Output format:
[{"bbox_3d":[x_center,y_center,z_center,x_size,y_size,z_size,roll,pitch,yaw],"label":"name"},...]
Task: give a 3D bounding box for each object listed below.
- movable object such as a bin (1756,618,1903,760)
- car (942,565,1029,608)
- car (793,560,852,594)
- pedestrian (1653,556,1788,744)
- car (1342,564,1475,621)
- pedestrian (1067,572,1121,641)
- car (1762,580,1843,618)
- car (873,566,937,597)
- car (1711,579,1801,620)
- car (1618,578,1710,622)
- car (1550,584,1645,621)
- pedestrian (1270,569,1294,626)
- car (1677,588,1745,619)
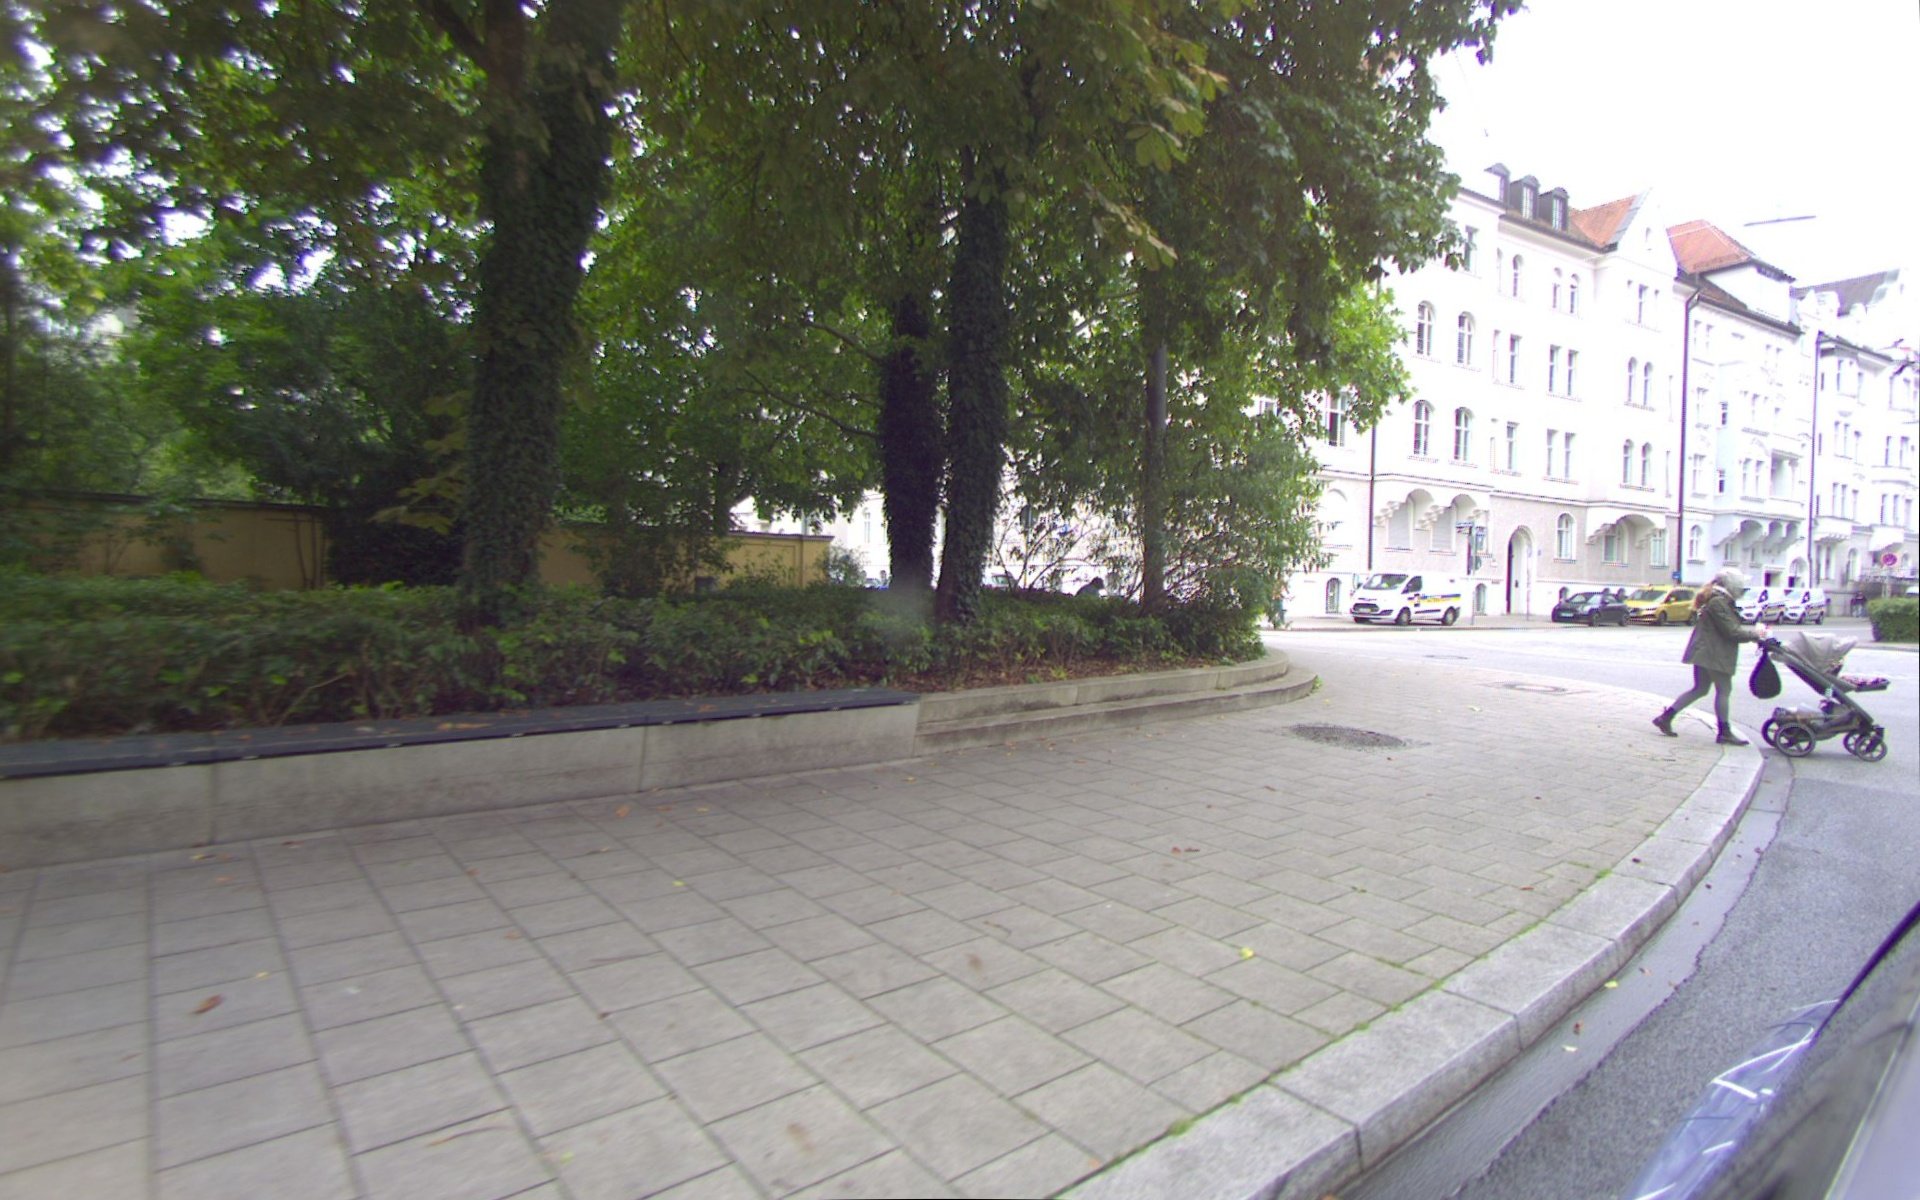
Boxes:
[{"bbox_3d":[7.785,0.757,9.073,0.898,1.097,0.765,6,4,43],"label":"movable object such as a bin"},{"bbox_3d":[0.998,-0.582,41.142,1.703,1.602,4.005,-1,3,-30],"label":"car"},{"bbox_3d":[-7.757,-1.313,56.640,1.788,1.779,4.114,-1,3,-31],"label":"car"},{"bbox_3d":[7.159,0.436,9.537,0.861,1.638,0.585,6,4,43],"label":"pedestrian"},{"bbox_3d":[16.550,-0.286,37.327,4.874,1.958,1.954,0,2,-30],"label":"car"},{"bbox_3d":[2.376,0.112,17.960,0.730,1.192,0.579,1,1,-30],"label":"pedestrian"},{"bbox_3d":[46.335,-0.098,55.642,4.486,1.962,2.057,-1,3,-32],"label":"car"},{"bbox_3d":[-2.641,-0.881,47.733,1.667,1.348,3.302,-1,3,-31],"label":"car"},{"bbox_3d":[41.147,-0.088,52.285,4.679,1.936,2.161,-1,3,-32],"label":"car"},{"bbox_3d":[32.121,-0.048,46.174,4.218,1.841,1.798,-1,3,-30],"label":"car"},{"bbox_3d":[27.481,0.091,43.613,3.743,1.437,1.954,-1,3,-30],"label":"car"},{"bbox_3d":[10.223,-0.084,32.144,0.558,1.790,0.406,0,2,-22],"label":"pedestrian"},{"bbox_3d":[36.379,0.171,49.001,3.291,1.375,1.444,-1,3,-30],"label":"car"}]
